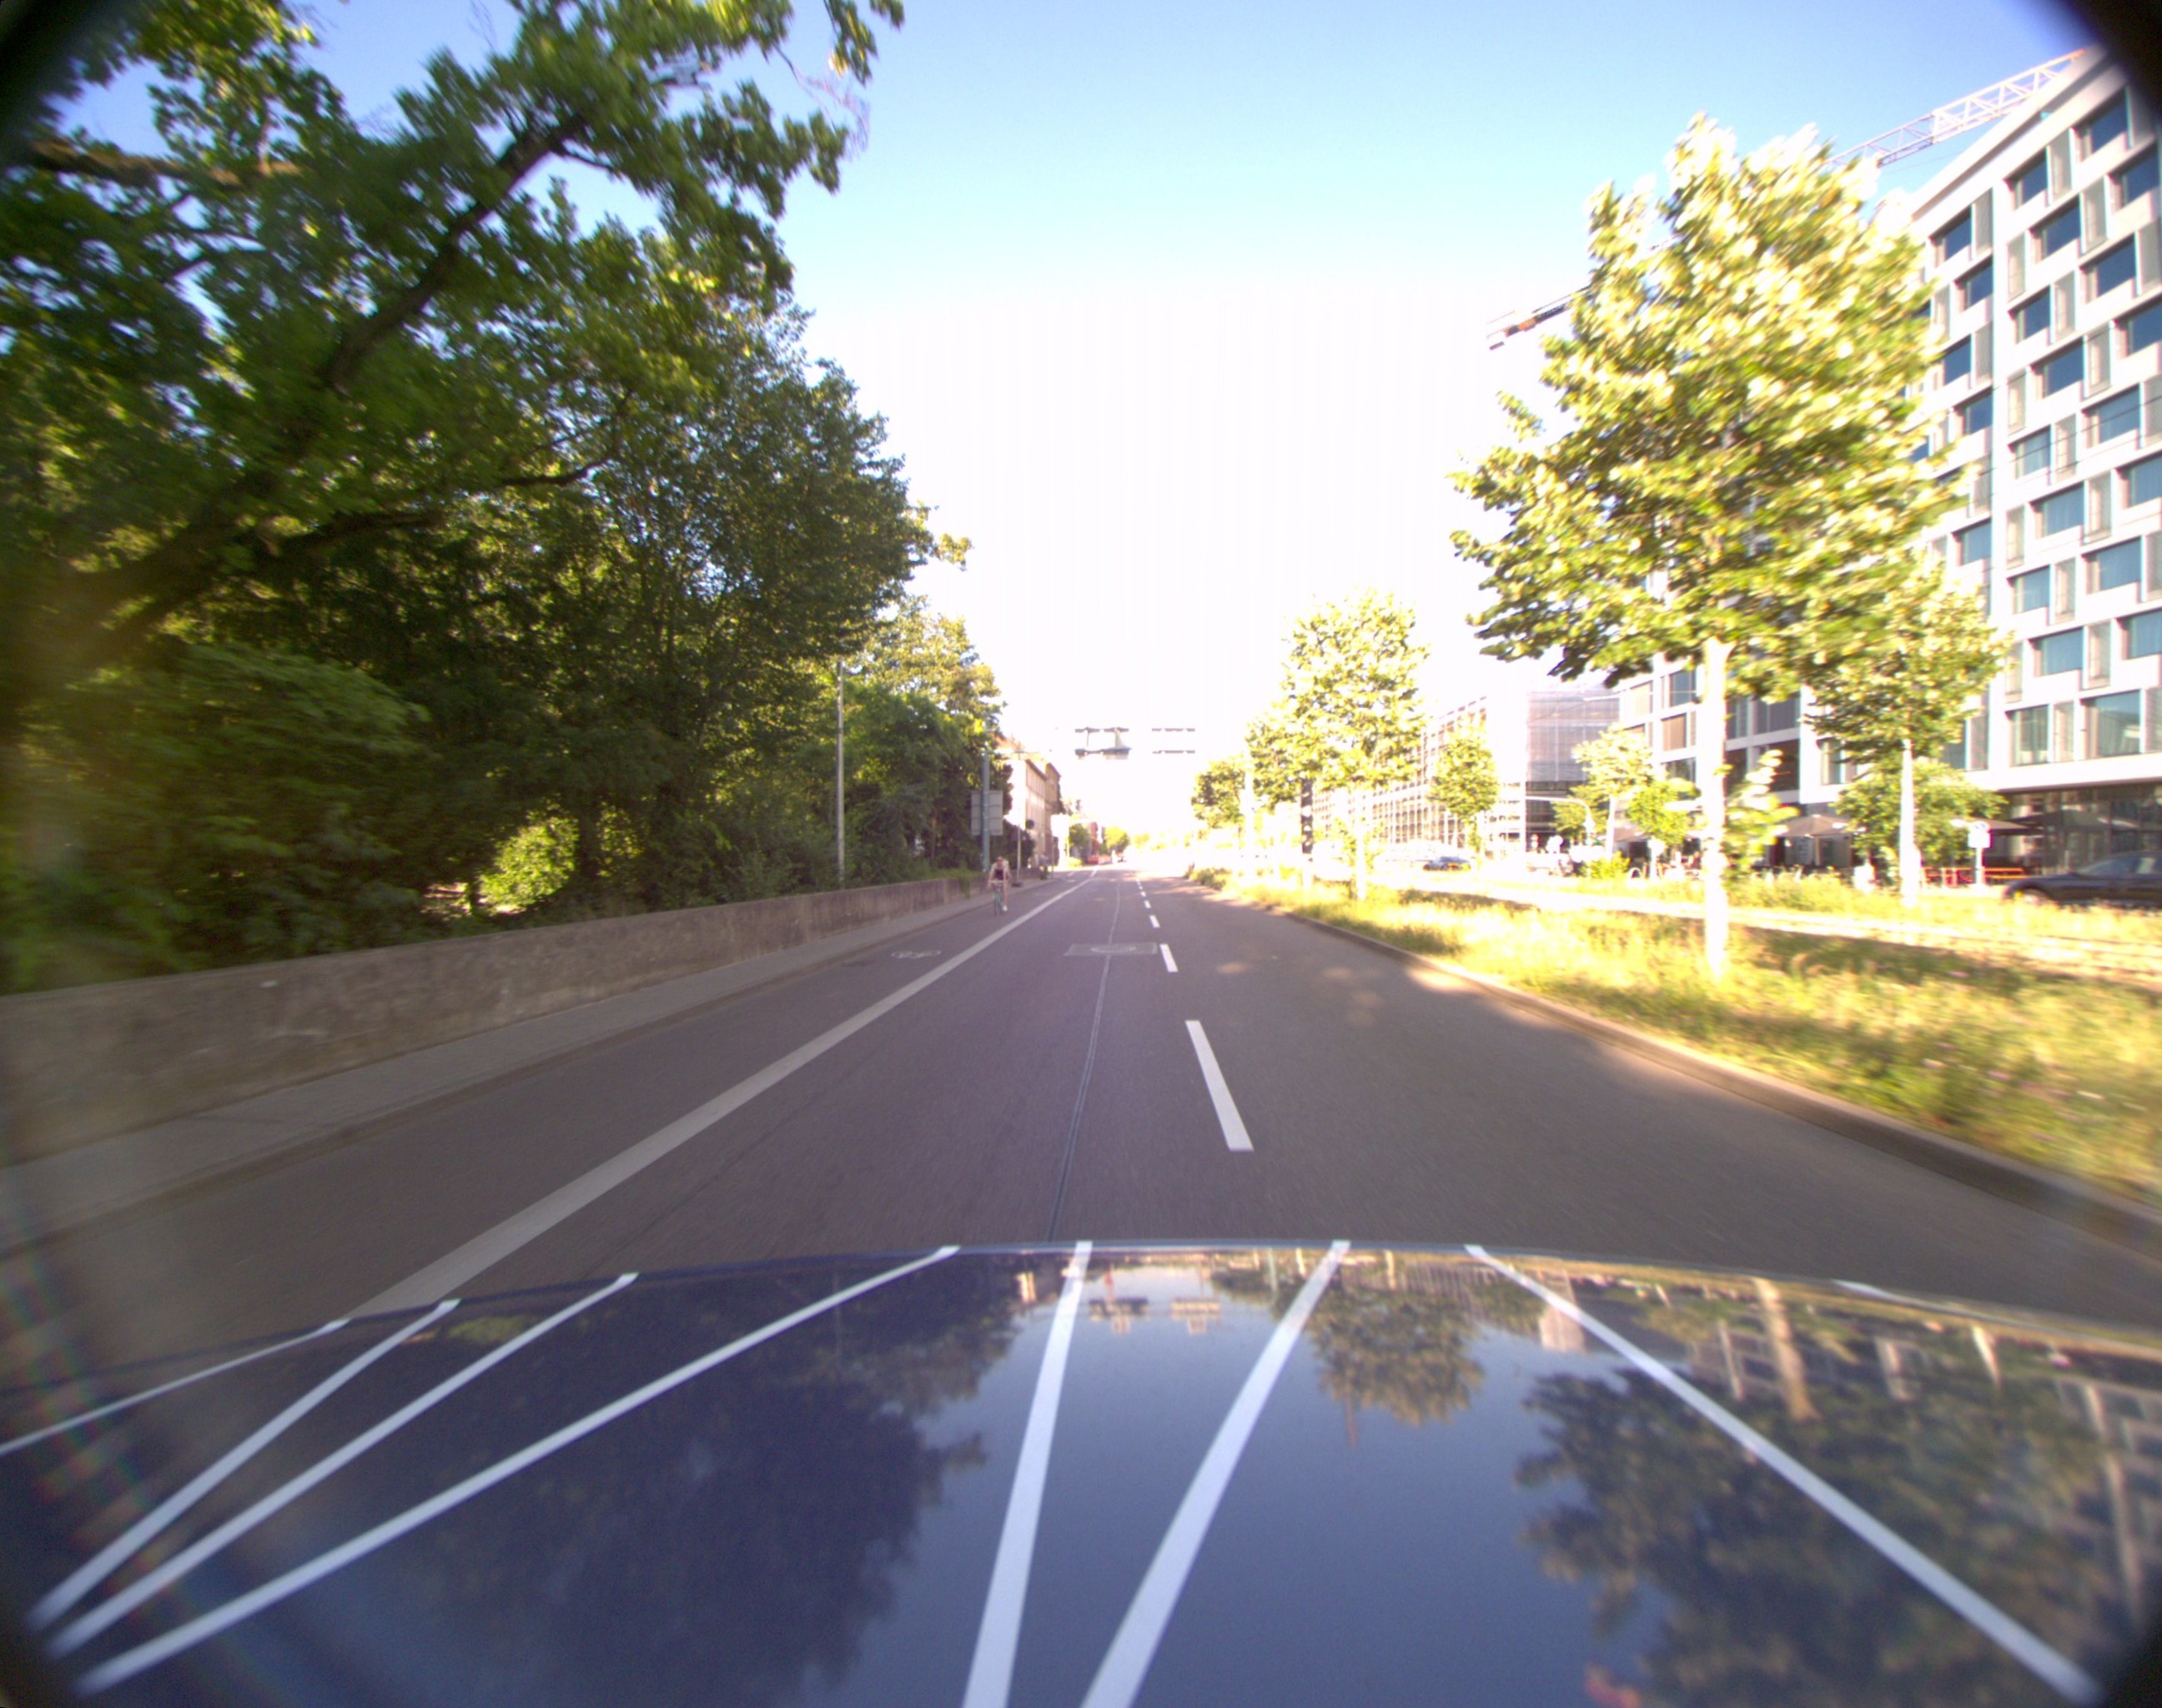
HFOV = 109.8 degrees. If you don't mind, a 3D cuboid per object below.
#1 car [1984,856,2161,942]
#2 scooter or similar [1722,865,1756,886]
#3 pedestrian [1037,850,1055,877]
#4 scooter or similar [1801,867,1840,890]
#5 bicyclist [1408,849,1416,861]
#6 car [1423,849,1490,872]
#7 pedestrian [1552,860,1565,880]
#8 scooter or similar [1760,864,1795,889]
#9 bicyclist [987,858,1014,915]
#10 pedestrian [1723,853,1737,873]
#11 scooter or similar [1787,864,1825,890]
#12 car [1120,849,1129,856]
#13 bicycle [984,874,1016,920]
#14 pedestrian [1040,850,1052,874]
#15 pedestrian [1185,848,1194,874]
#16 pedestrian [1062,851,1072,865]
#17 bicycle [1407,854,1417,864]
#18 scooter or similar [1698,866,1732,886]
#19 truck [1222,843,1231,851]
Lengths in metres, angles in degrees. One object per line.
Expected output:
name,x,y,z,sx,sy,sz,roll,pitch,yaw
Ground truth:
car,23.018,0.928,16.155,1.889,1.679,5.091,-1,0,5
scooter or similar,32.827,1.065,37.903,1.246,1.013,0.435,0,1,4
pedestrian,-2.383,0.648,52.071,0.861,1.792,0.905,1,1,-31
scooter or similar,32.465,1.065,33.371,1.246,1.013,0.435,0,1,4
bicyclist,37.935,0.121,87.071,0.626,1.456,0.851,0,1,10
car,22.973,0.348,46.693,1.895,1.336,4.851,0,0,3
pedestrian,35.748,1.162,56.894,0.587,1.490,0.577,0,1,2
scooter or similar,33.021,1.066,36.019,1.246,1.165,0.406,0,1,4
bicyclist,-2.133,0.845,20.187,0.553,1.482,1.081,0,0,3
pedestrian,41.513,0.573,48.607,0.432,1.215,0.497,0,1,4
scooter or similar,32.880,1.040,34.469,1.246,1.165,0.406,0,1,4
car,9.678,-0.362,169.036,1.998,1.696,4.000,0,1,3
bicycle,-2.135,1.113,20.187,0.522,1.091,1.843,-2,0,3
pedestrian,-2.427,0.580,52.707,0.768,1.627,0.769,2,1,-6
pedestrian,7.309,0.464,51.082,0.599,1.689,0.714,0,1,9
pedestrian,-1.698,0.425,89.746,0.924,1.639,0.767,0,1,34
bicycle,37.952,0.555,87.095,0.626,1.060,2.079,0,1,10
scooter or similar,32.897,1.162,39.430,1.246,1.013,0.511,0,1,4
truck,46.281,-2.153,241.540,2.142,2.559,4.741,0,0,5
